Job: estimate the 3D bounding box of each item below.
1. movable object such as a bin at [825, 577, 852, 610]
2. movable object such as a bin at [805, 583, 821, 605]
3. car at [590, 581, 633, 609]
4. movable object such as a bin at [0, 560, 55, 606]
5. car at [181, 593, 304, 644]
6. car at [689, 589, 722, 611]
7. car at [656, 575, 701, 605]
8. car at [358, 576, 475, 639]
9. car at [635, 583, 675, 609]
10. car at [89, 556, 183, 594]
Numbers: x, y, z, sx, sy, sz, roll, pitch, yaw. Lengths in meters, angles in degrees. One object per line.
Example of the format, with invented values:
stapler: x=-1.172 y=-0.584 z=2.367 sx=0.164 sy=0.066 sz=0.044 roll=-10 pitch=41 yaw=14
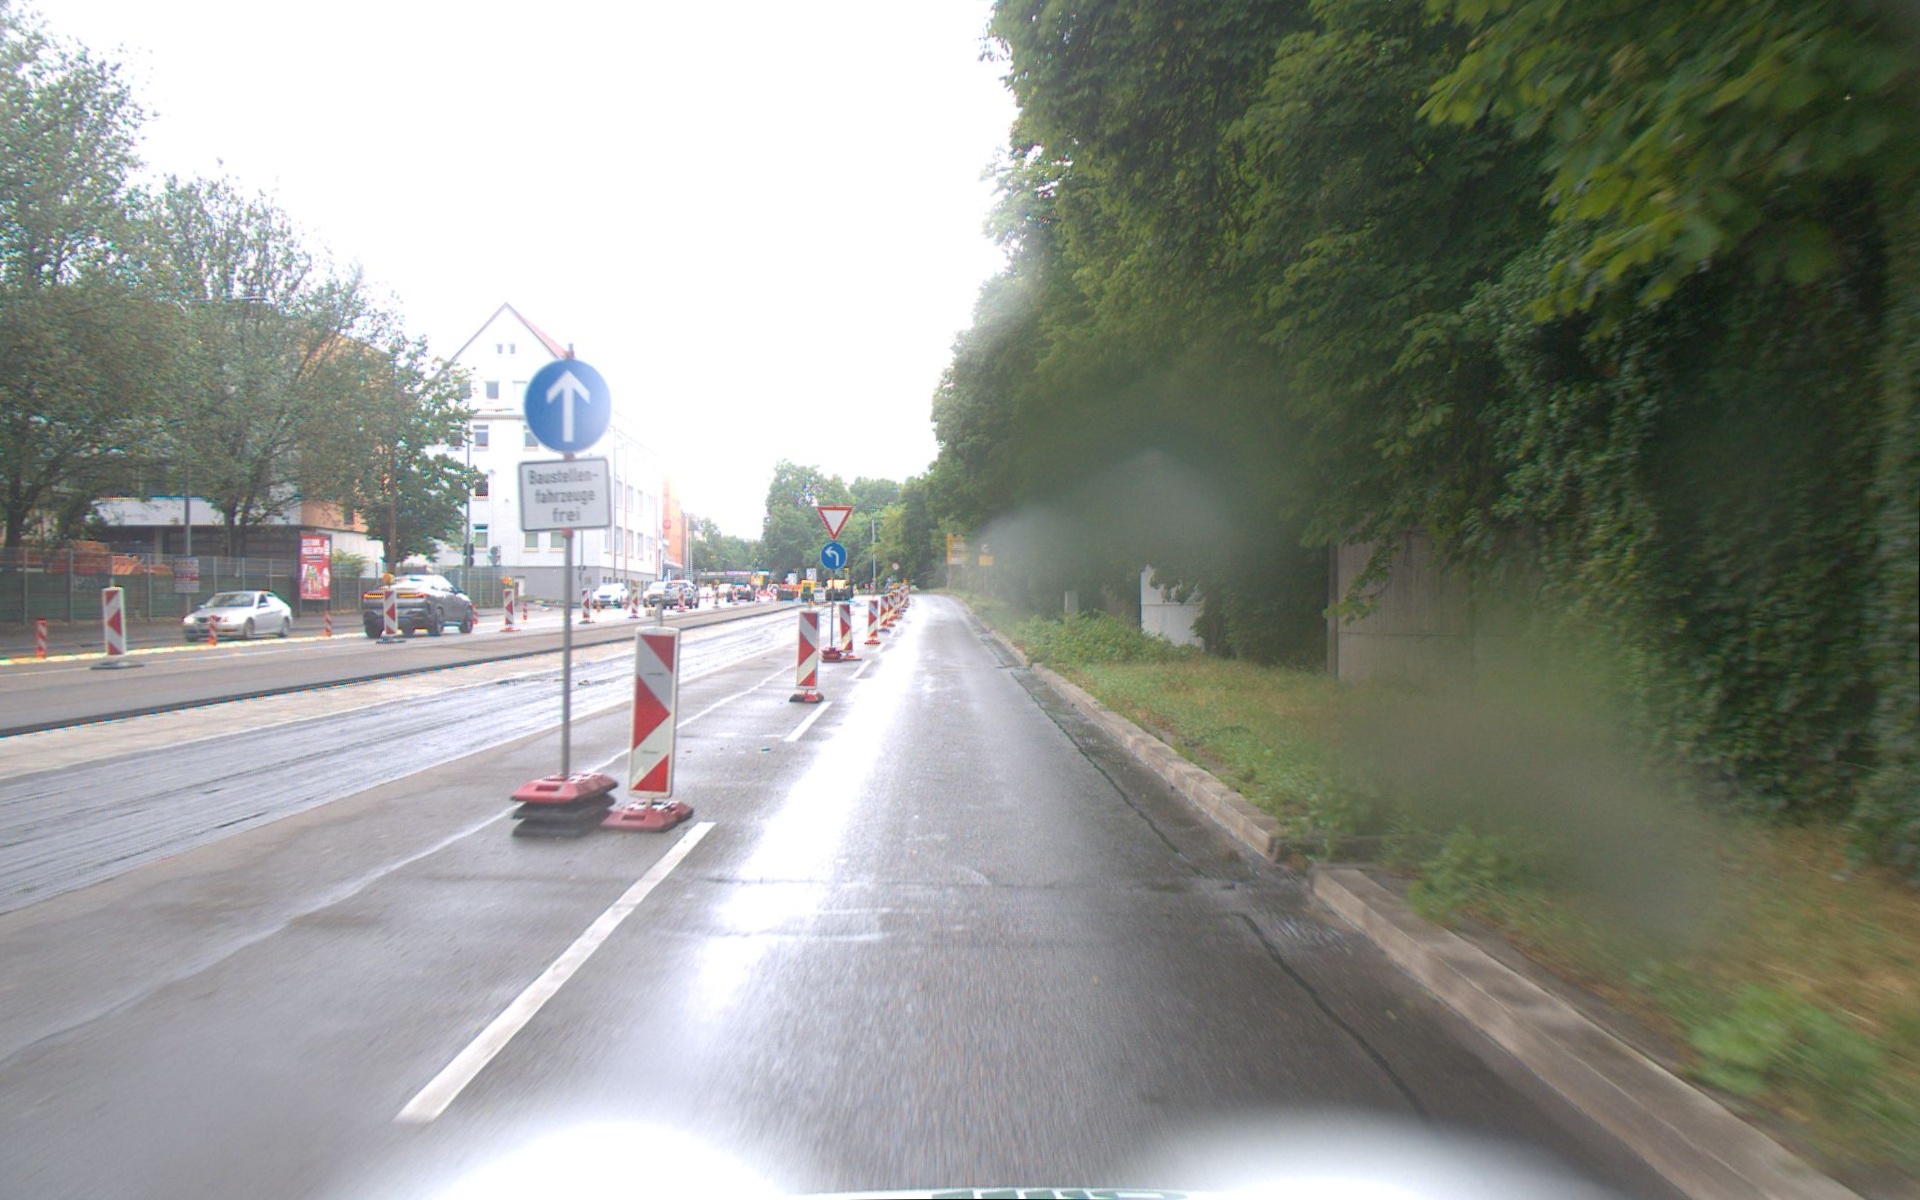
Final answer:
movable object such as a bin: x=-9.981 y=-0.565 z=135.969 sx=1.864 sy=2.654 sz=5.381 roll=-1 pitch=1 yaw=-1
movable object such as a bin: x=-11.337 y=-0.495 z=127.463 sx=1.061 sy=1.673 sz=2.438 roll=0 pitch=0 yaw=-2
car: x=-22.669 y=-0.325 z=107.721 sx=1.821 sy=1.735 sz=4.364 roll=-2 pitch=0 yaw=-1
movable object such as a bin: x=-33.941 y=-0.599 z=58.979 sx=3.952 sy=1.554 sz=1.743 roll=0 pitch=0 yaw=42
car: x=-20.783 y=0.505 z=48.097 sx=1.633 sy=1.338 sz=4.454 roll=-2 pitch=0 yaw=0
car: x=-18.710 y=0.016 z=121.538 sx=1.821 sy=1.501 sz=3.731 roll=-2 pitch=0 yaw=-1
car: x=-16.222 y=-0.551 z=95.443 sx=1.854 sy=1.679 sz=4.395 roll=0 pitch=0 yaw=0
car: x=-15.164 y=0.188 z=46.384 sx=1.854 sy=1.679 sz=4.395 roll=0 pitch=0 yaw=0
car: x=-20.141 y=-0.276 z=109.281 sx=1.821 sy=1.647 sz=4.364 roll=-2 pitch=0 yaw=-1
car: x=-34.115 y=-1.021 z=68.469 sx=3.944 sy=1.554 sz=1.992 roll=0 pitch=0 yaw=37
